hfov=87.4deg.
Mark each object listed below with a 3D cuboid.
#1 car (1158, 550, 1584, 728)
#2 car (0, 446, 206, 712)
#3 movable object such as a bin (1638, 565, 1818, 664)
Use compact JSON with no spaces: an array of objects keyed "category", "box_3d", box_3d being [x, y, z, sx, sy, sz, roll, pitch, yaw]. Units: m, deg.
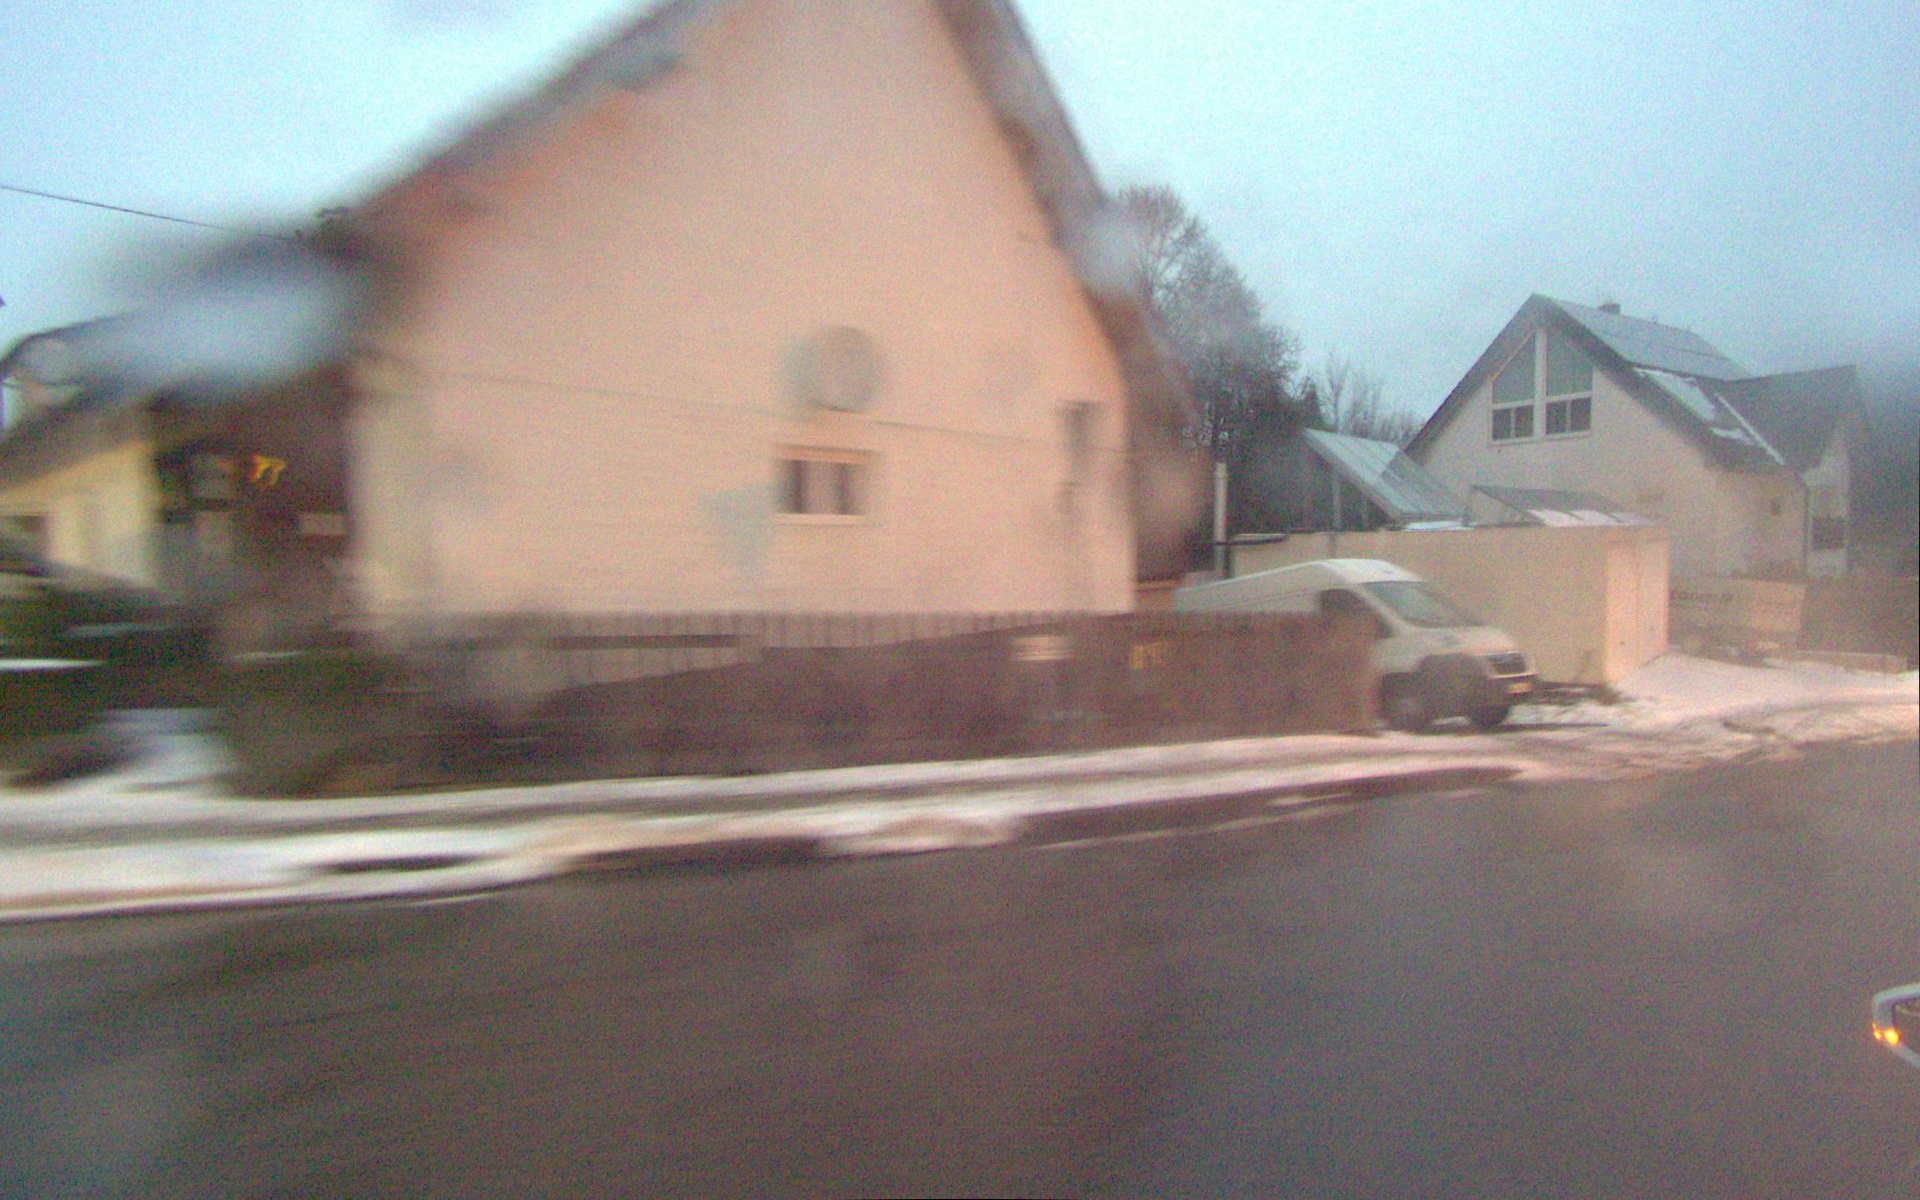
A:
[{"category":"car","box_3d":[5.503,0.416,14.278,2.191,2.040,5.230,3,0,-33]},{"category":"car","box_3d":[-10.896,-0.088,9.075,1.964,2.588,6.102,1,6,29]},{"category":"movable object such as a bin","box_3d":[14.931,0.235,19.657,1.415,1.671,2.366,1,5,-9]}]
